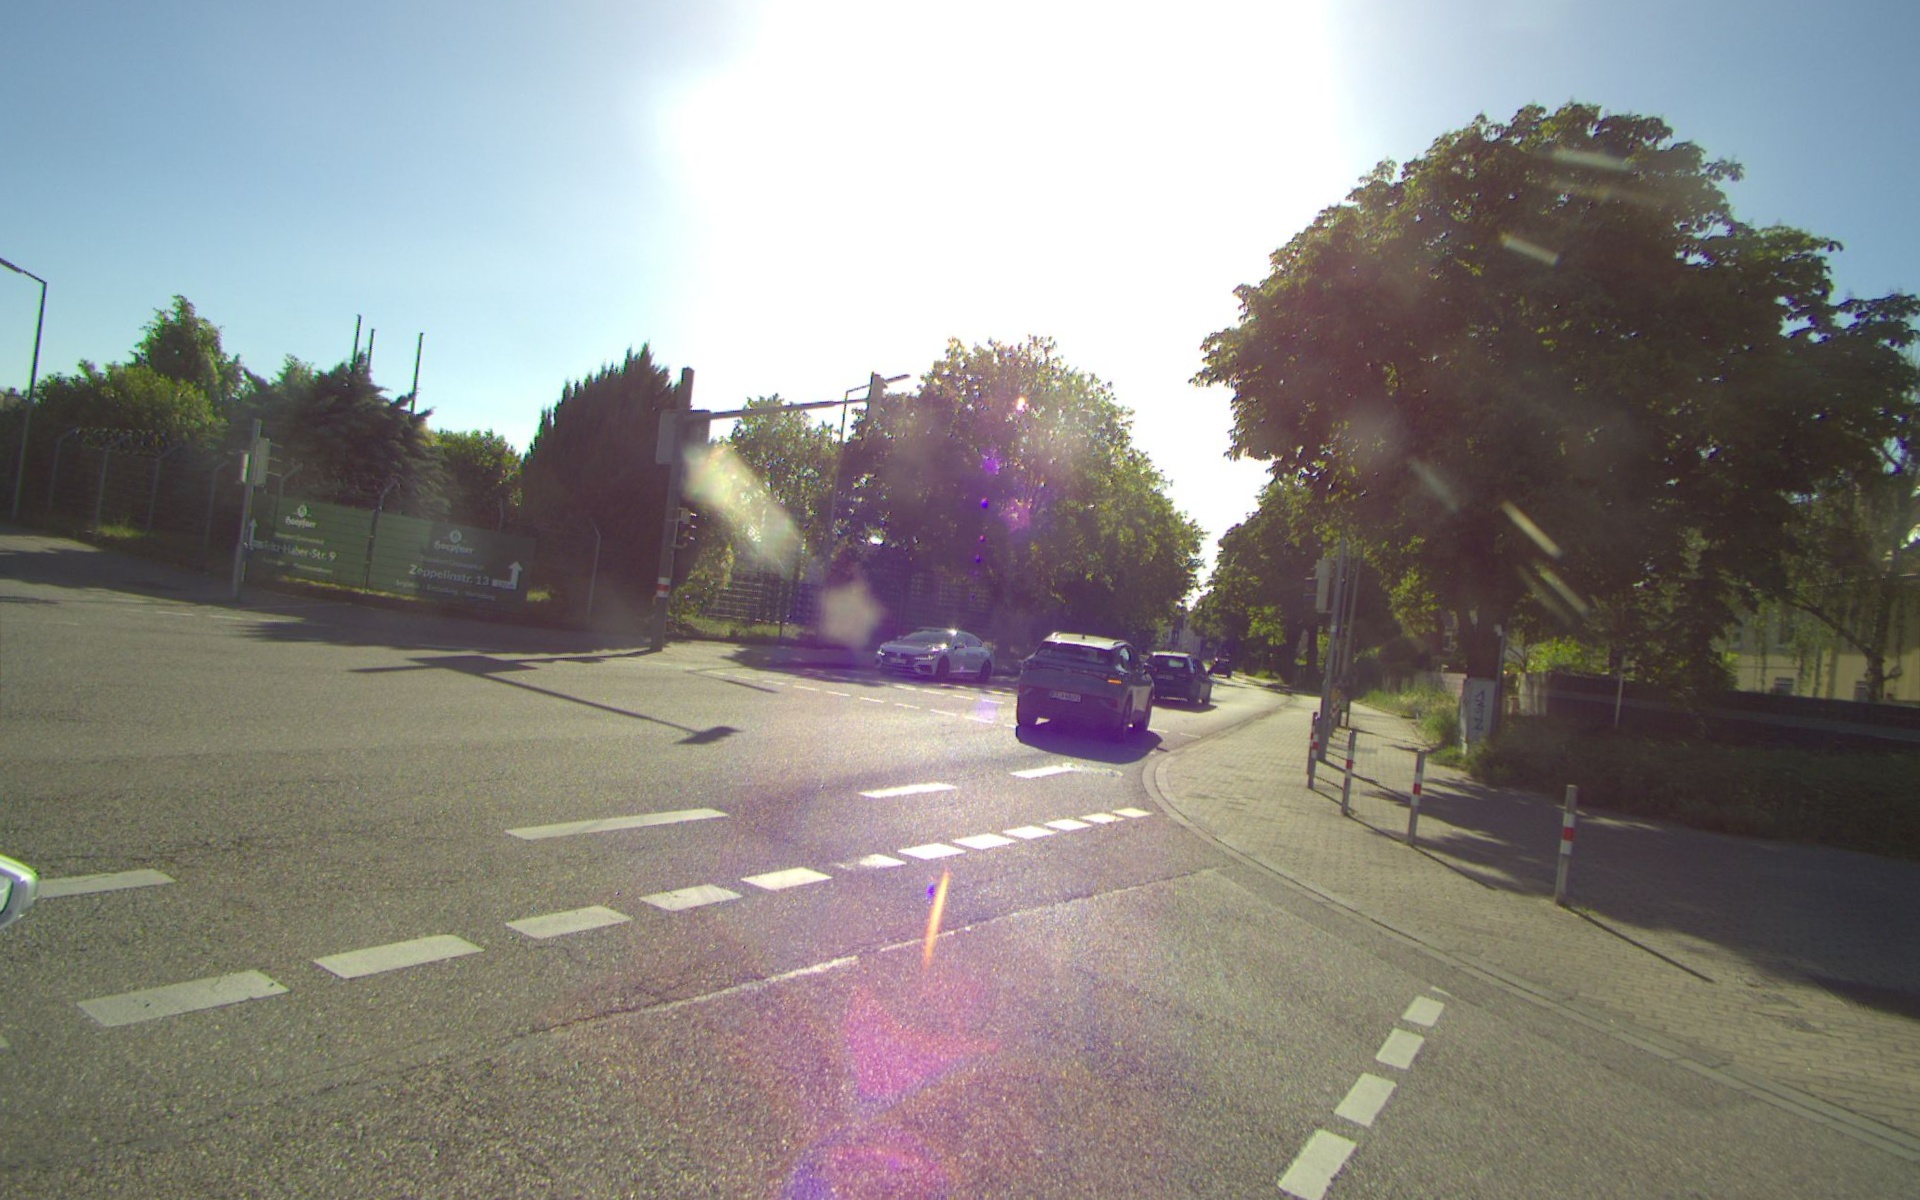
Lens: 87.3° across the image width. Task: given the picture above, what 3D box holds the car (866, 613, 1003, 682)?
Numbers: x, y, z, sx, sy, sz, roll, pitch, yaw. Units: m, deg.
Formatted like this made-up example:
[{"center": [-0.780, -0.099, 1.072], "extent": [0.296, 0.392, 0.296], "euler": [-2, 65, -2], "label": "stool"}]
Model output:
[{"center": [-0.588, 1.375, 27.713], "extent": [1.778, 1.550, 4.513], "euler": [7, -1, 25], "label": "car"}]

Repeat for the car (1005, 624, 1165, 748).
[{"center": [2.332, 1.469, 17.625], "extent": [1.828, 1.654, 4.260], "euler": [8, -1, 18], "label": "car"}]
